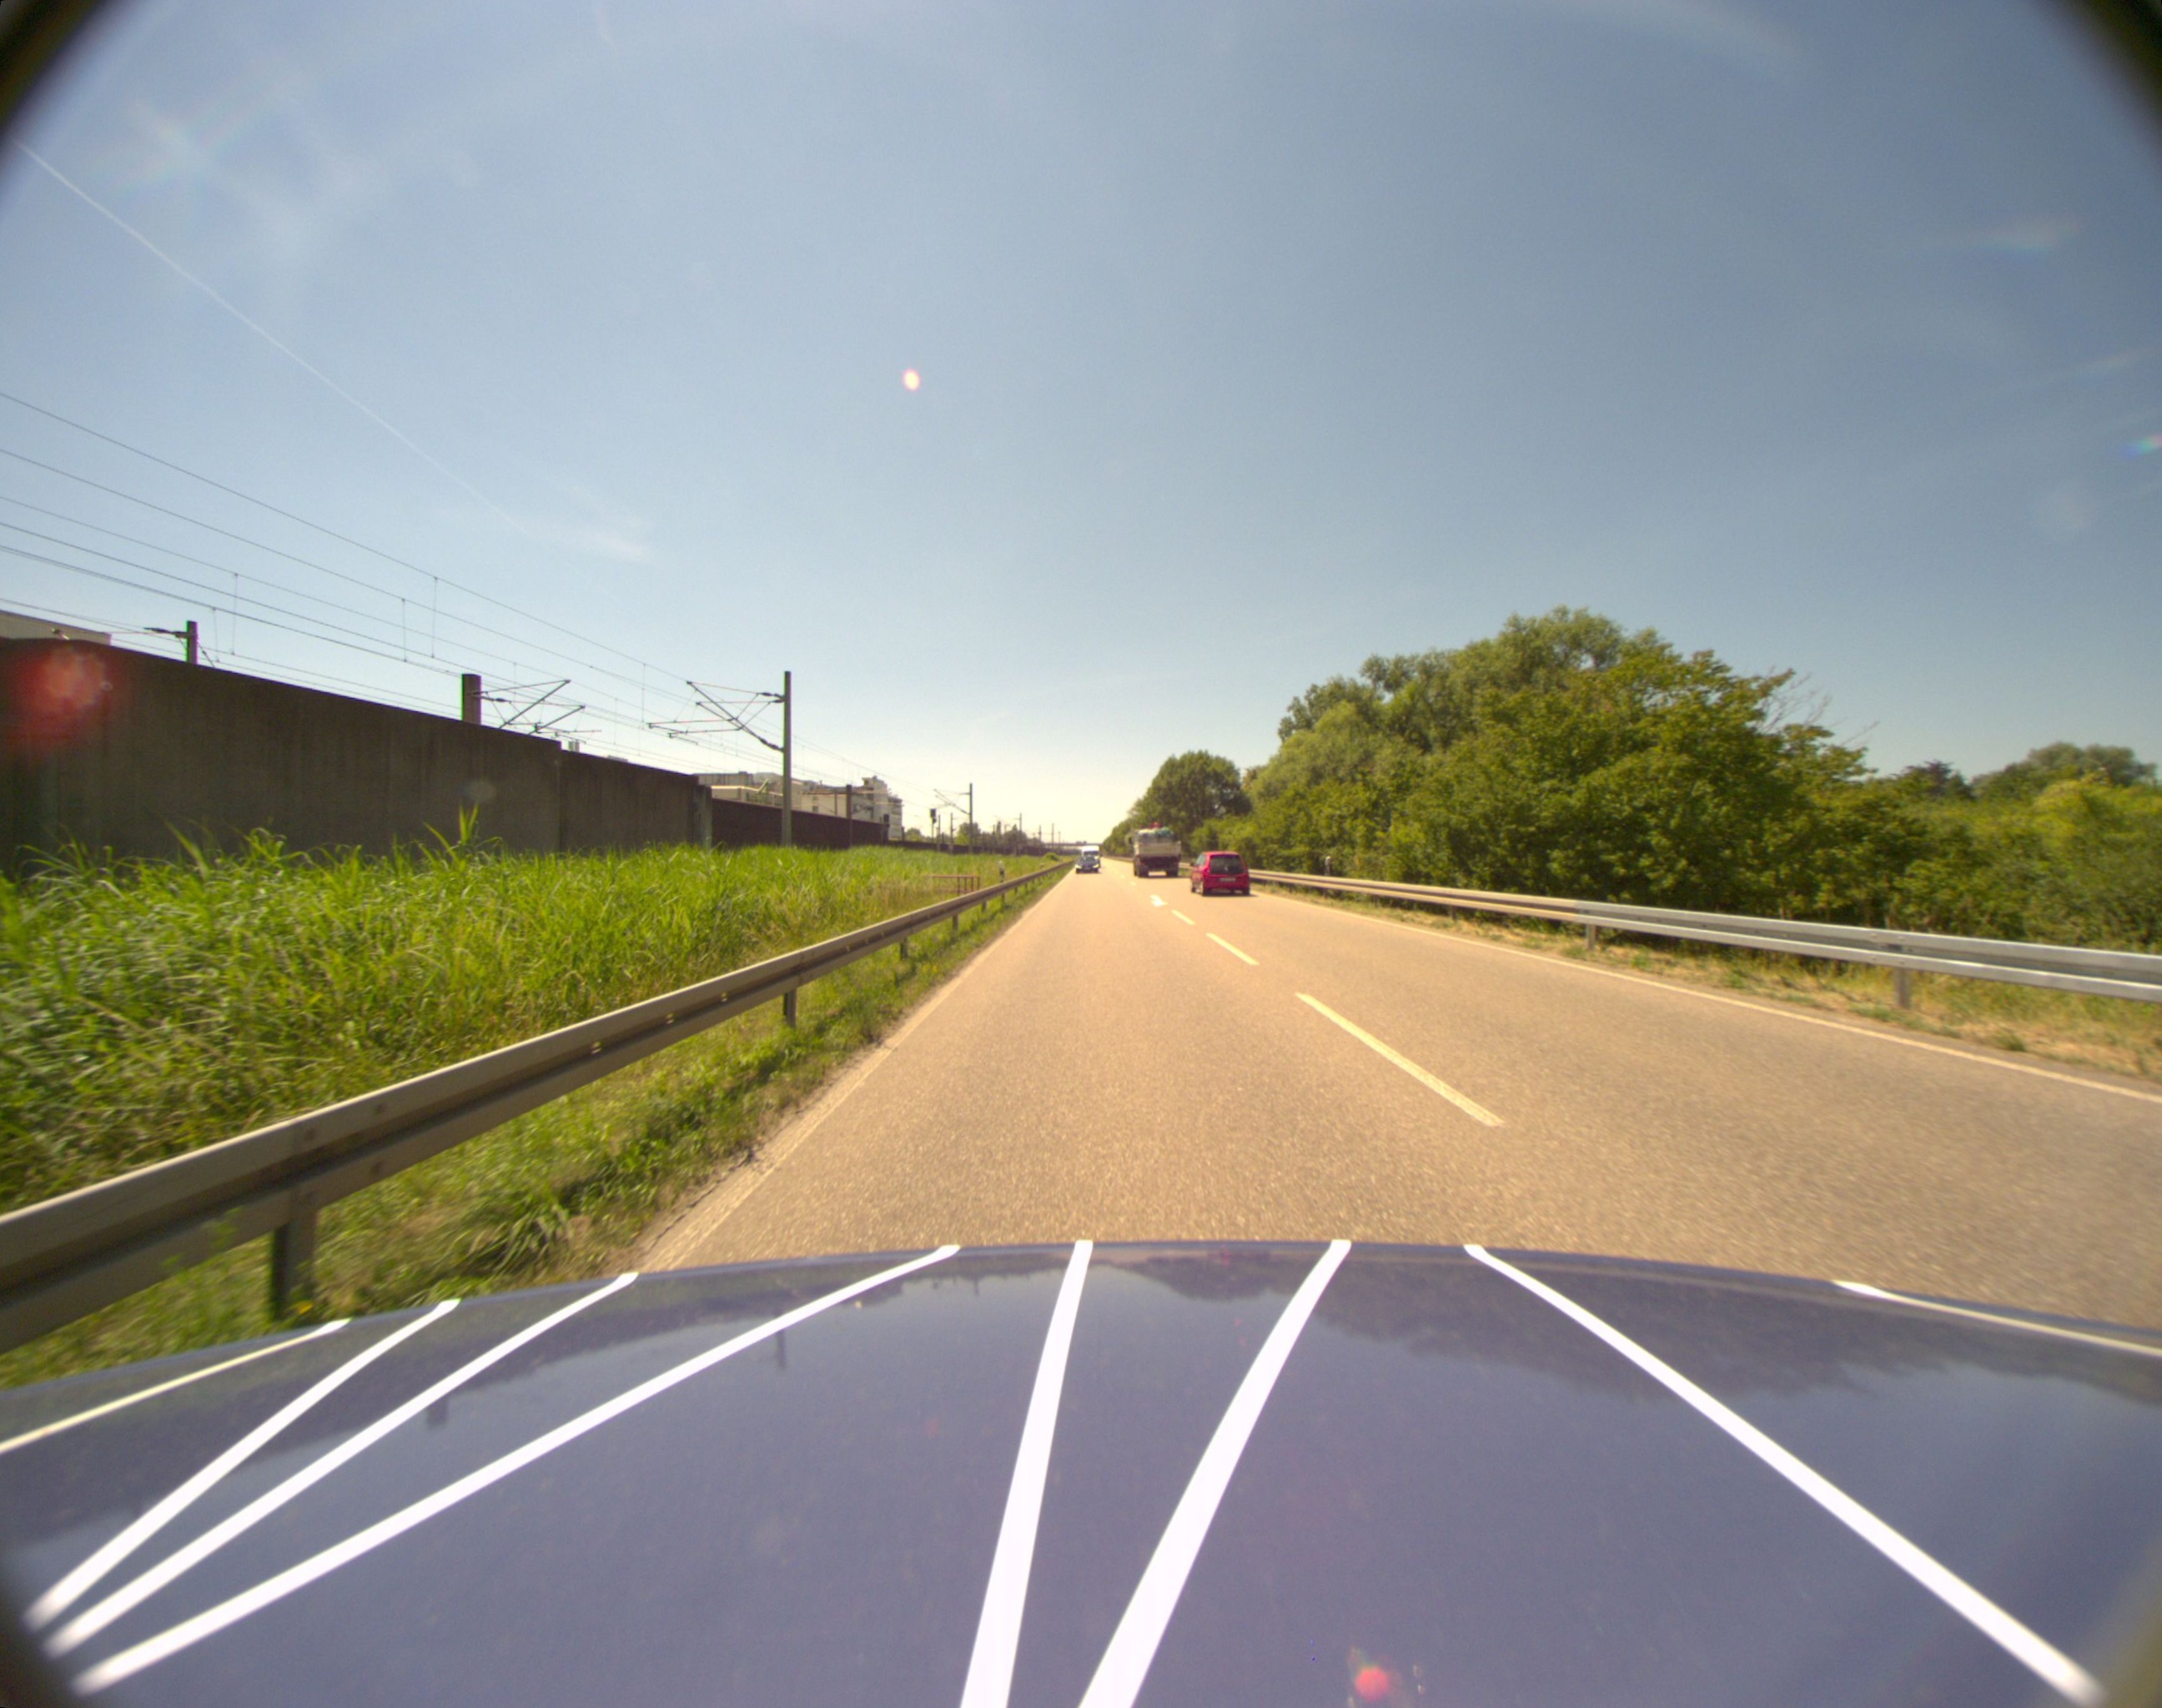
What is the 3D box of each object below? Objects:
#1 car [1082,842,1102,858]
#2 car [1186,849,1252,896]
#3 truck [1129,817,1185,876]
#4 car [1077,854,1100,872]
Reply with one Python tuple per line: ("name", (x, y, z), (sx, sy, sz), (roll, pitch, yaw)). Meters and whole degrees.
("car", (1.239, -0.426, 84.841), (2.161, 1.701, 4.493), (-2, 0, 1))
("car", (4.886, 0.613, 27.360), (1.657, 1.543, 4.000), (-1, 0, 0))
("truck", (4.747, -0.476, 49.151), (2.790, 3.385, 7.988), (-2, 0, 0))
("car", (0.599, 0.689, 61.735), (1.758, 1.313, 4.000), (-2, 0, 1))
